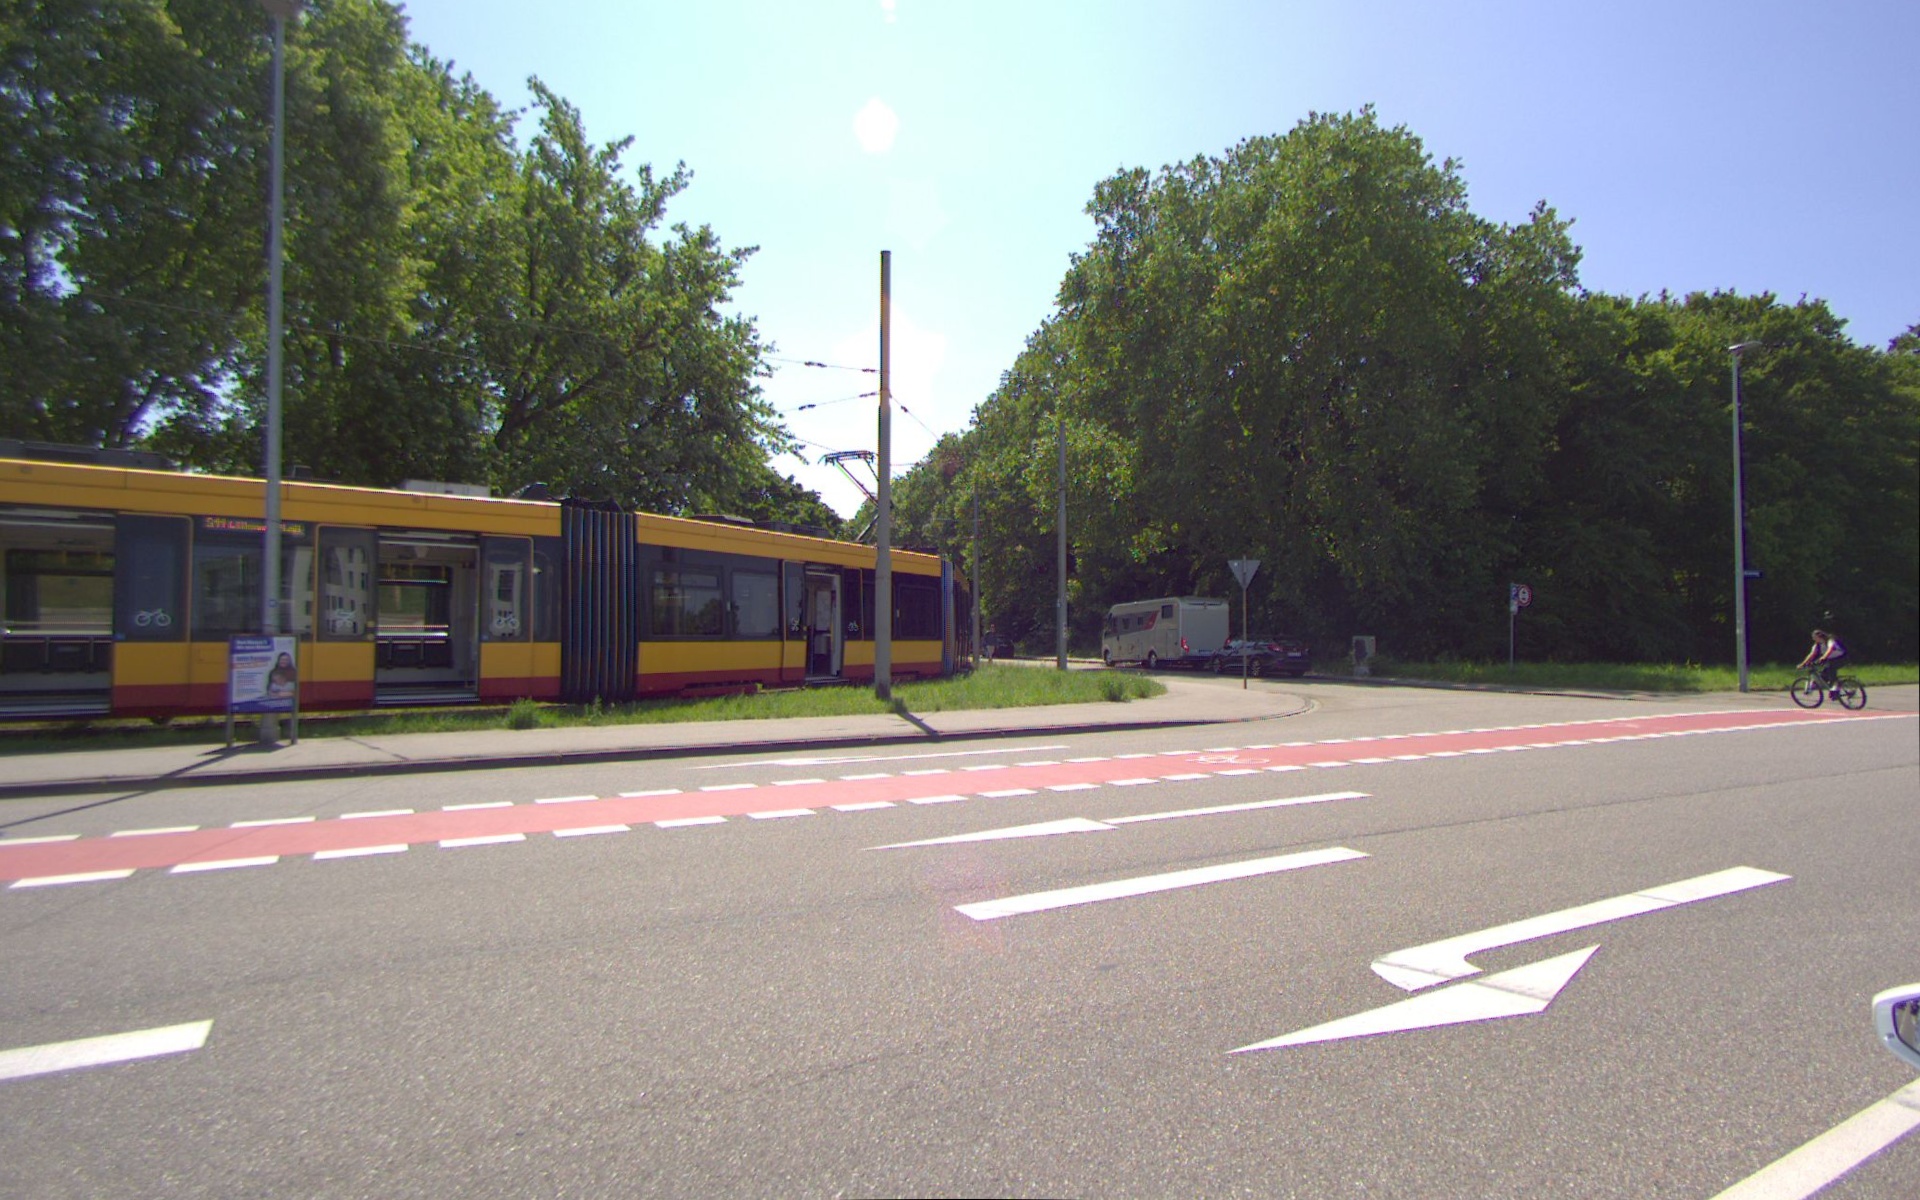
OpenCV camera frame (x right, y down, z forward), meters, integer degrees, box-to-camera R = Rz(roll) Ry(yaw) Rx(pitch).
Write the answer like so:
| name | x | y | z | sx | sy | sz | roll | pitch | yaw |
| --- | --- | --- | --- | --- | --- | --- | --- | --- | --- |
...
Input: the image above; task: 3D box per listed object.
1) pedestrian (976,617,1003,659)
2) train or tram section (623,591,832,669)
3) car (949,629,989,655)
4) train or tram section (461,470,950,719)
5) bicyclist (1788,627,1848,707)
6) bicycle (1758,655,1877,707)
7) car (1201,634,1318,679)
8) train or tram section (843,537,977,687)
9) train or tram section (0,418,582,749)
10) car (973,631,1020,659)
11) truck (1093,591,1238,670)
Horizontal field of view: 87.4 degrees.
| name | x | y | z | sx | sy | sz | roll | pitch | yaw |
| --- | --- | --- | --- | --- | --- | --- | --- | --- | --- |
| pedestrian | 1.223 | 1.575 | 41.901 | 0.844 | 1.732 | 0.804 | 0 | -1 | -26 |
| train or tram section | -13.030 | 1.795 | 54.842 | 13.973 | 3.808 | 3.014 | -3 | -3 | 38 |
| car | 0.600 | 2.879 | 69.615 | 1.865 | 1.639 | 4.205 | 0 | -1 | -13 |
| train or tram section | -4.308 | 0.161 | 21.205 | 2.971 | 3.808 | 11.602 | -2 | -3 | 28 |
| bicyclist | 19.050 | 1.468 | 22.304 | 0.754 | 1.728 | 0.667 | 1 | 0 | 4 |
| bicycle | 19.022 | 1.792 | 22.310 | 2.004 | 1.069 | 0.671 | 1 | 0 | 4 |
| car | 10.287 | 1.909 | 34.865 | 1.642 | 1.435 | 4.293 | 2 | -3 | -20 |
| train or tram section | -1.162 | 0.620 | 32.787 | 2.965 | 3.808 | 14.057 | -1 | -3 | 3 |
| train or tram section | -11.835 | -0.131 | 12.777 | 12.869 | 3.808 | 2.996 | 1 | -3 | -36 |
| car | 2.214 | 2.749 | 62.216 | 1.865 | 1.639 | 4.205 | 0 | -1 | -13 |
| truck | 8.284 | 1.342 | 41.548 | 2.528 | 2.947 | 7.312 | 2 | -3 | -19 |
